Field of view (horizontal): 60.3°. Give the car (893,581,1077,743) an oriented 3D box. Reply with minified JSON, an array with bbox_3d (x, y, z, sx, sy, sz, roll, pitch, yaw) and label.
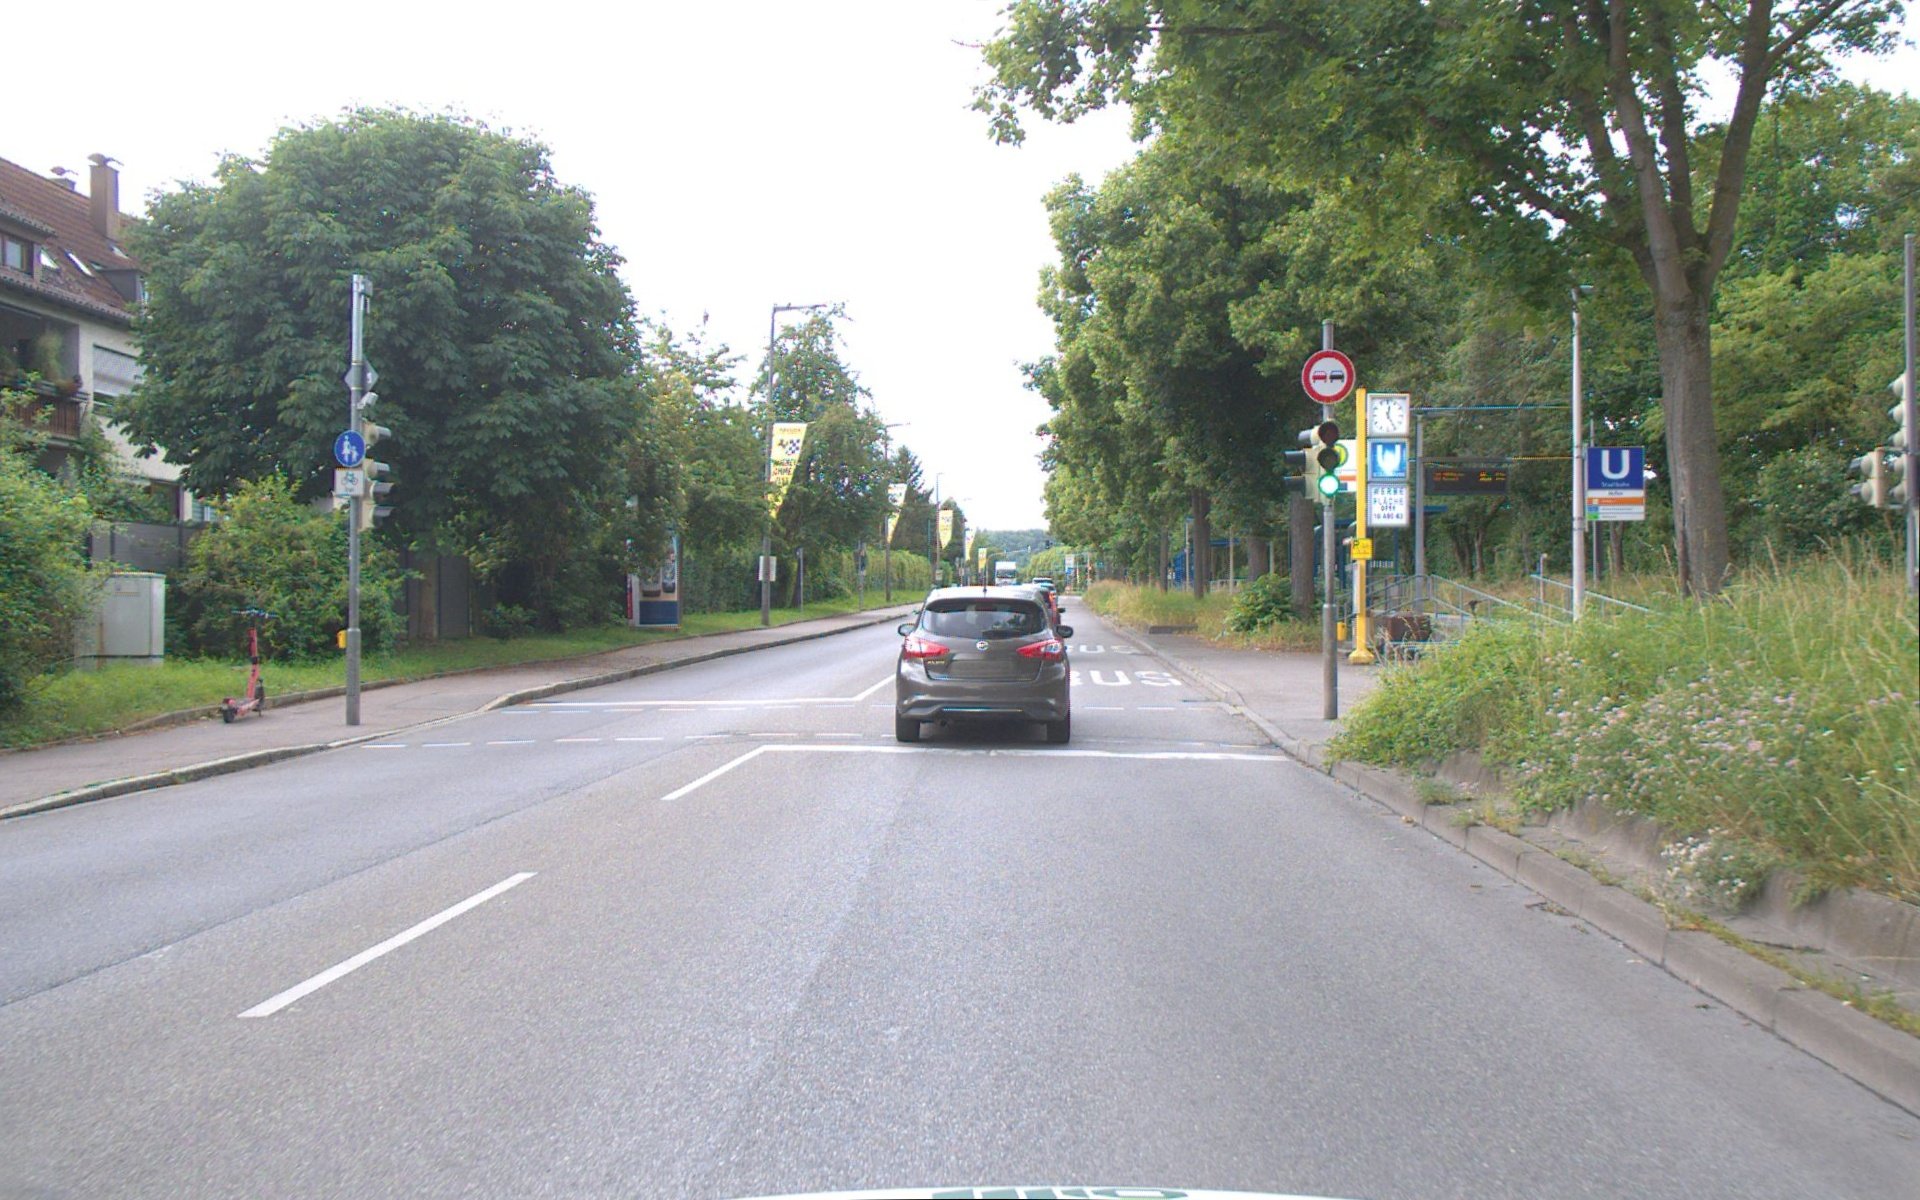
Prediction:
[{"bbox_3d":[0.343,0.592,17.491,1.746,1.533,3.697,0,0,3],"label":"car"}]

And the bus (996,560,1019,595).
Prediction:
[{"bbox_3d":[5.739,-2.656,198.231,2.435,4.096,10.221,0,0,3],"label":"bus"}]

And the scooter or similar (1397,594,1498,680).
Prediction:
[{"bbox_3d":[7.310,0.555,24.815,1.430,1.264,0.482,1,0,-18],"label":"scooter or similar"}]

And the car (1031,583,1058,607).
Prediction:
[{"bbox_3d":[5.178,-0.287,101.622,1.656,1.466,3.543,0,0,3],"label":"car"}]

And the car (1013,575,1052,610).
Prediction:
[{"bbox_3d":[3.144,-0.321,71.457,1.656,1.466,3.543,0,0,3],"label":"car"}]

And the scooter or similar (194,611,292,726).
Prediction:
[{"bbox_3d":[-8.397,0.780,19.418,0.453,1.281,1.427,0,0,4],"label":"scooter or similar"}]

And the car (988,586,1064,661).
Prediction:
[{"bbox_3d":[1.366,0.456,33.968,1.470,1.466,3.543,0,0,3],"label":"car"}]
